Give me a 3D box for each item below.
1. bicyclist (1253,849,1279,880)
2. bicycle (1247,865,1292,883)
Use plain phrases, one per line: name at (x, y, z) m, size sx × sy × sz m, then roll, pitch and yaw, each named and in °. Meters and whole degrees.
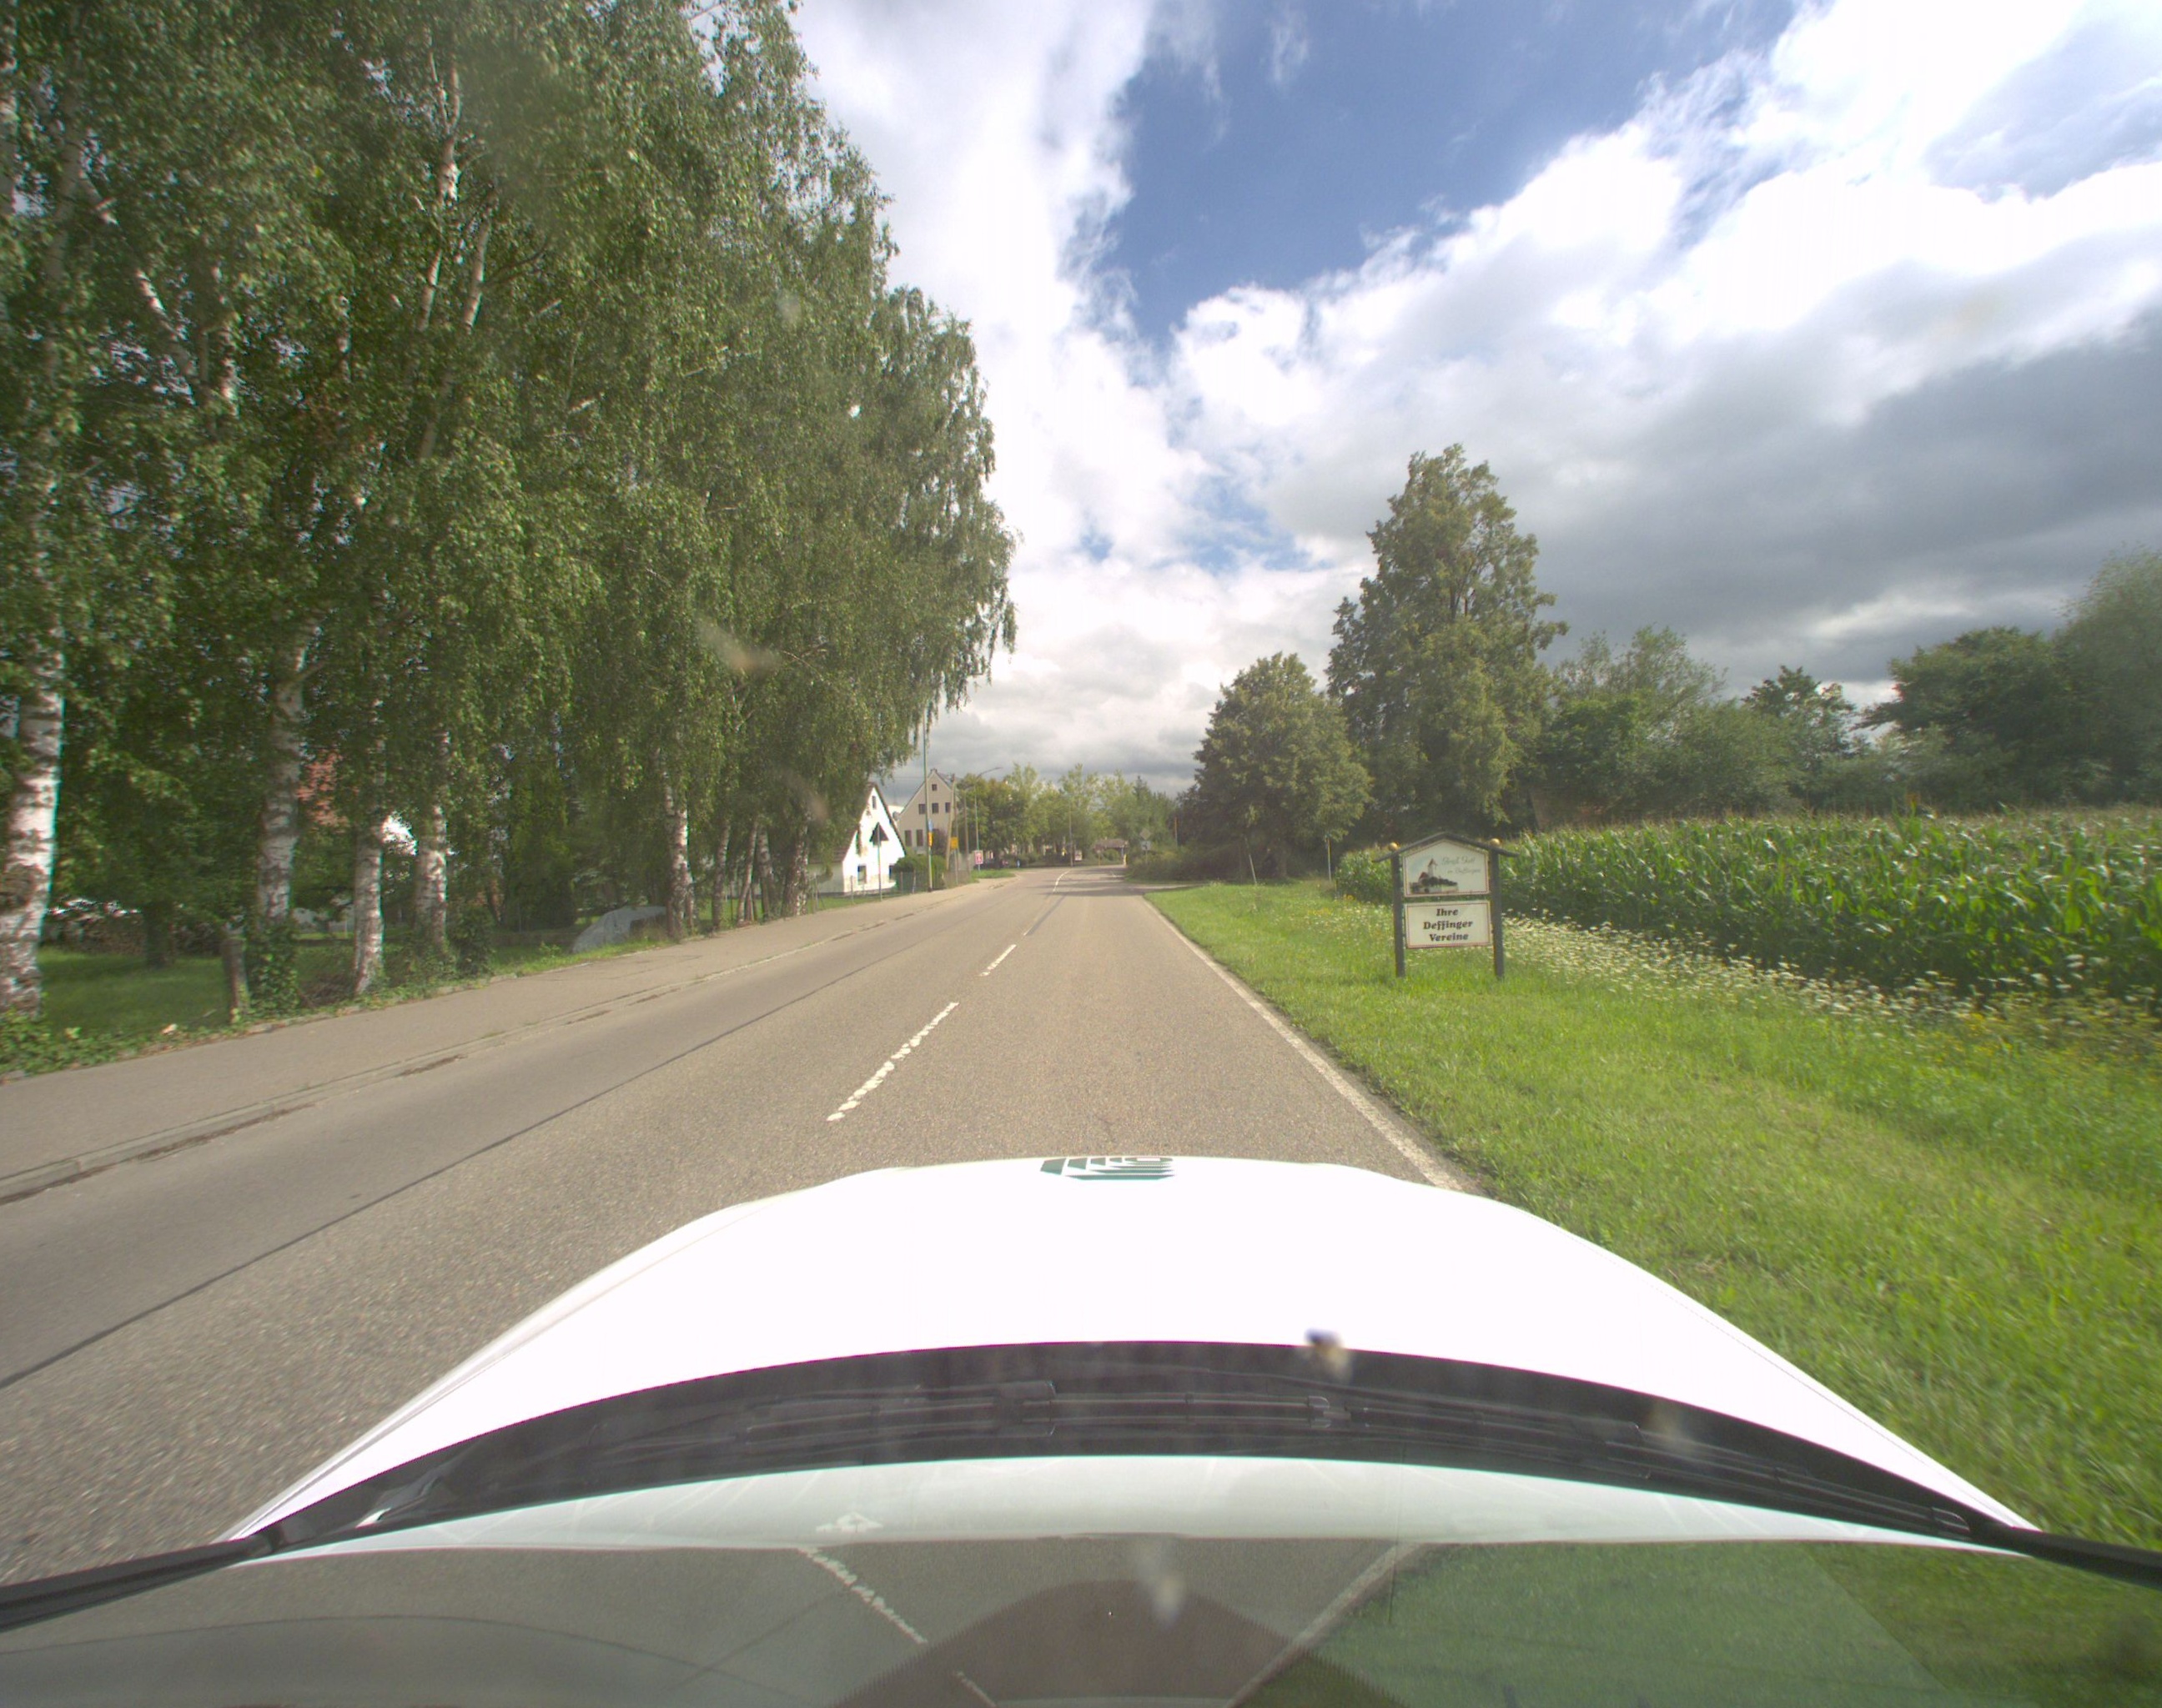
bicyclist at (9.845, 0.545, 43.372) m, size 1.018 × 1.585 × 1.049 m, roll -1°, pitch 0°, yaw -14°
bicycle at (10.034, 1.034, 43.355) m, size 2.118 × 0.864 × 1.049 m, roll -2°, pitch 0°, yaw -14°
